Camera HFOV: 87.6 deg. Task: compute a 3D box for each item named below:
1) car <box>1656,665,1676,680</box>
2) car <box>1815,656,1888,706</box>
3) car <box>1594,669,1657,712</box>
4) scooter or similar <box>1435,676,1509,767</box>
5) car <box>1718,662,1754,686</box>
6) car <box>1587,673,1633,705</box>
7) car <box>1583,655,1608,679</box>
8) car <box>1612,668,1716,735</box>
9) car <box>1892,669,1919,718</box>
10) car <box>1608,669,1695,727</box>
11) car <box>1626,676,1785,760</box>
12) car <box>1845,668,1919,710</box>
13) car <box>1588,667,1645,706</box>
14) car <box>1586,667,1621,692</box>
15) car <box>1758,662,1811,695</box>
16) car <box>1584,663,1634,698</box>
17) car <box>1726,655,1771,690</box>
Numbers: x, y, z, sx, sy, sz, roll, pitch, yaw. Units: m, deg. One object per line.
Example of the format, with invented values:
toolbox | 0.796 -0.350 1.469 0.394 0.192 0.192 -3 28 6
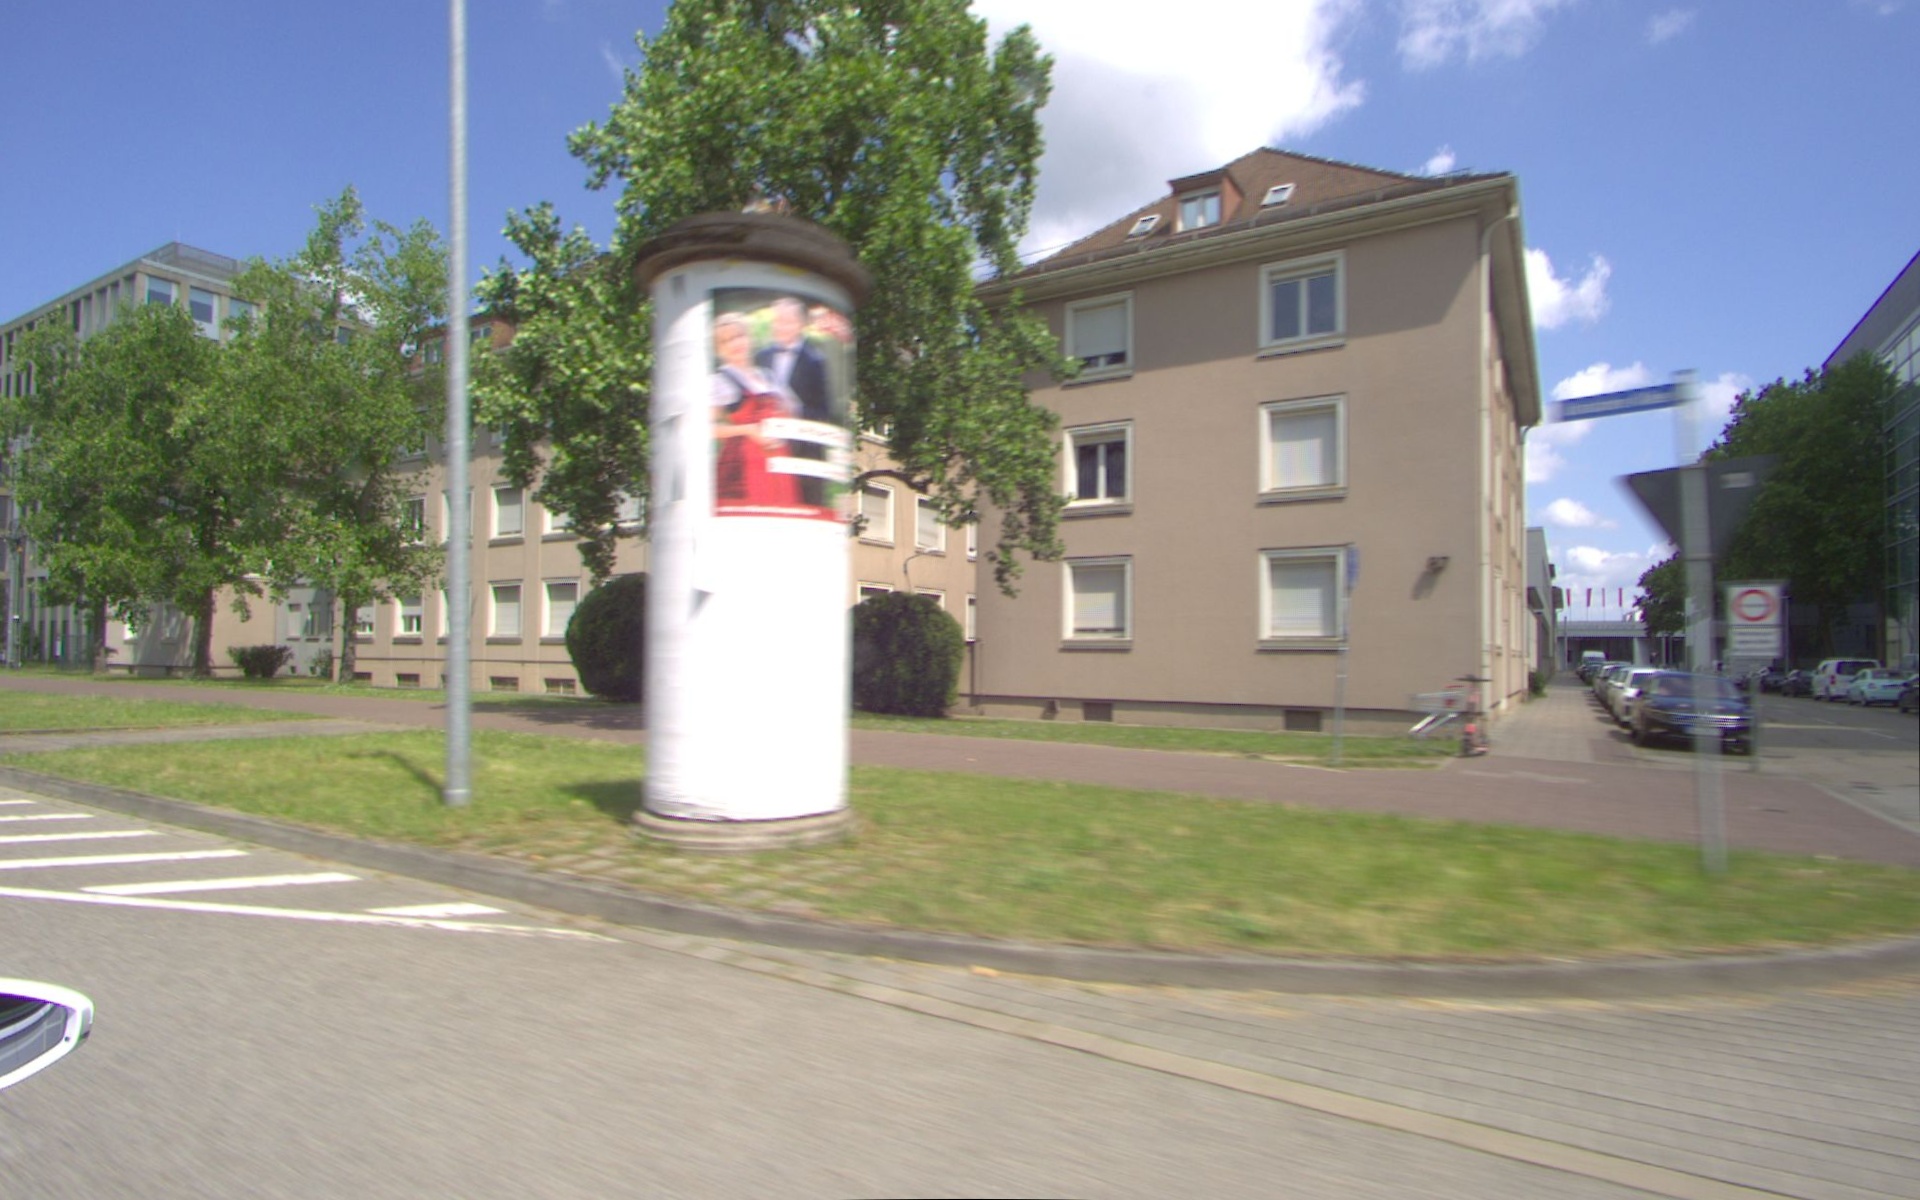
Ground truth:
car | 85.351 8.741 121.093 1.794 1.793 3.980 -4 -5 33
car | 39.583 3.584 44.560 1.793 2.107 3.980 -2 -4 33
car | 25.938 3.475 39.113 1.835 1.464 4.053 2 -2 31
scooter or similar | 7.906 1.844 15.439 1.430 1.319 0.542 3 -4 -43
car | 59.948 5.715 77.394 1.794 1.793 3.980 -4 -5 33
car | 33.933 4.609 52.362 1.835 1.464 4.053 2 -2 31
car | 56.832 5.970 89.503 1.793 2.059 3.980 -2 -4 33
car | 17.953 2.527 25.706 1.835 1.464 4.295 2 -2 31
car | 32.853 3.095 33.446 1.794 1.566 3.980 -3 -5 33
car | 20.444 2.848 29.756 1.835 1.464 4.053 2 -2 31
car | 14.482 2.219 19.705 1.970 1.370 4.449 -1 -4 30
car | 36.689 3.480 39.686 1.794 1.566 3.980 -3 -5 33
car | 28.223 3.685 43.133 1.835 1.464 4.053 2 -2 31
car | 43.272 5.319 67.407 1.835 1.464 4.053 2 -2 31
car | 46.323 4.418 56.361 1.794 1.793 3.980 -4 -5 33
car | 30.919 3.815 47.786 1.835 1.464 4.053 2 -2 31
car | 54.451 4.987 69.249 1.967 2.334 4.580 -3 -5 33
